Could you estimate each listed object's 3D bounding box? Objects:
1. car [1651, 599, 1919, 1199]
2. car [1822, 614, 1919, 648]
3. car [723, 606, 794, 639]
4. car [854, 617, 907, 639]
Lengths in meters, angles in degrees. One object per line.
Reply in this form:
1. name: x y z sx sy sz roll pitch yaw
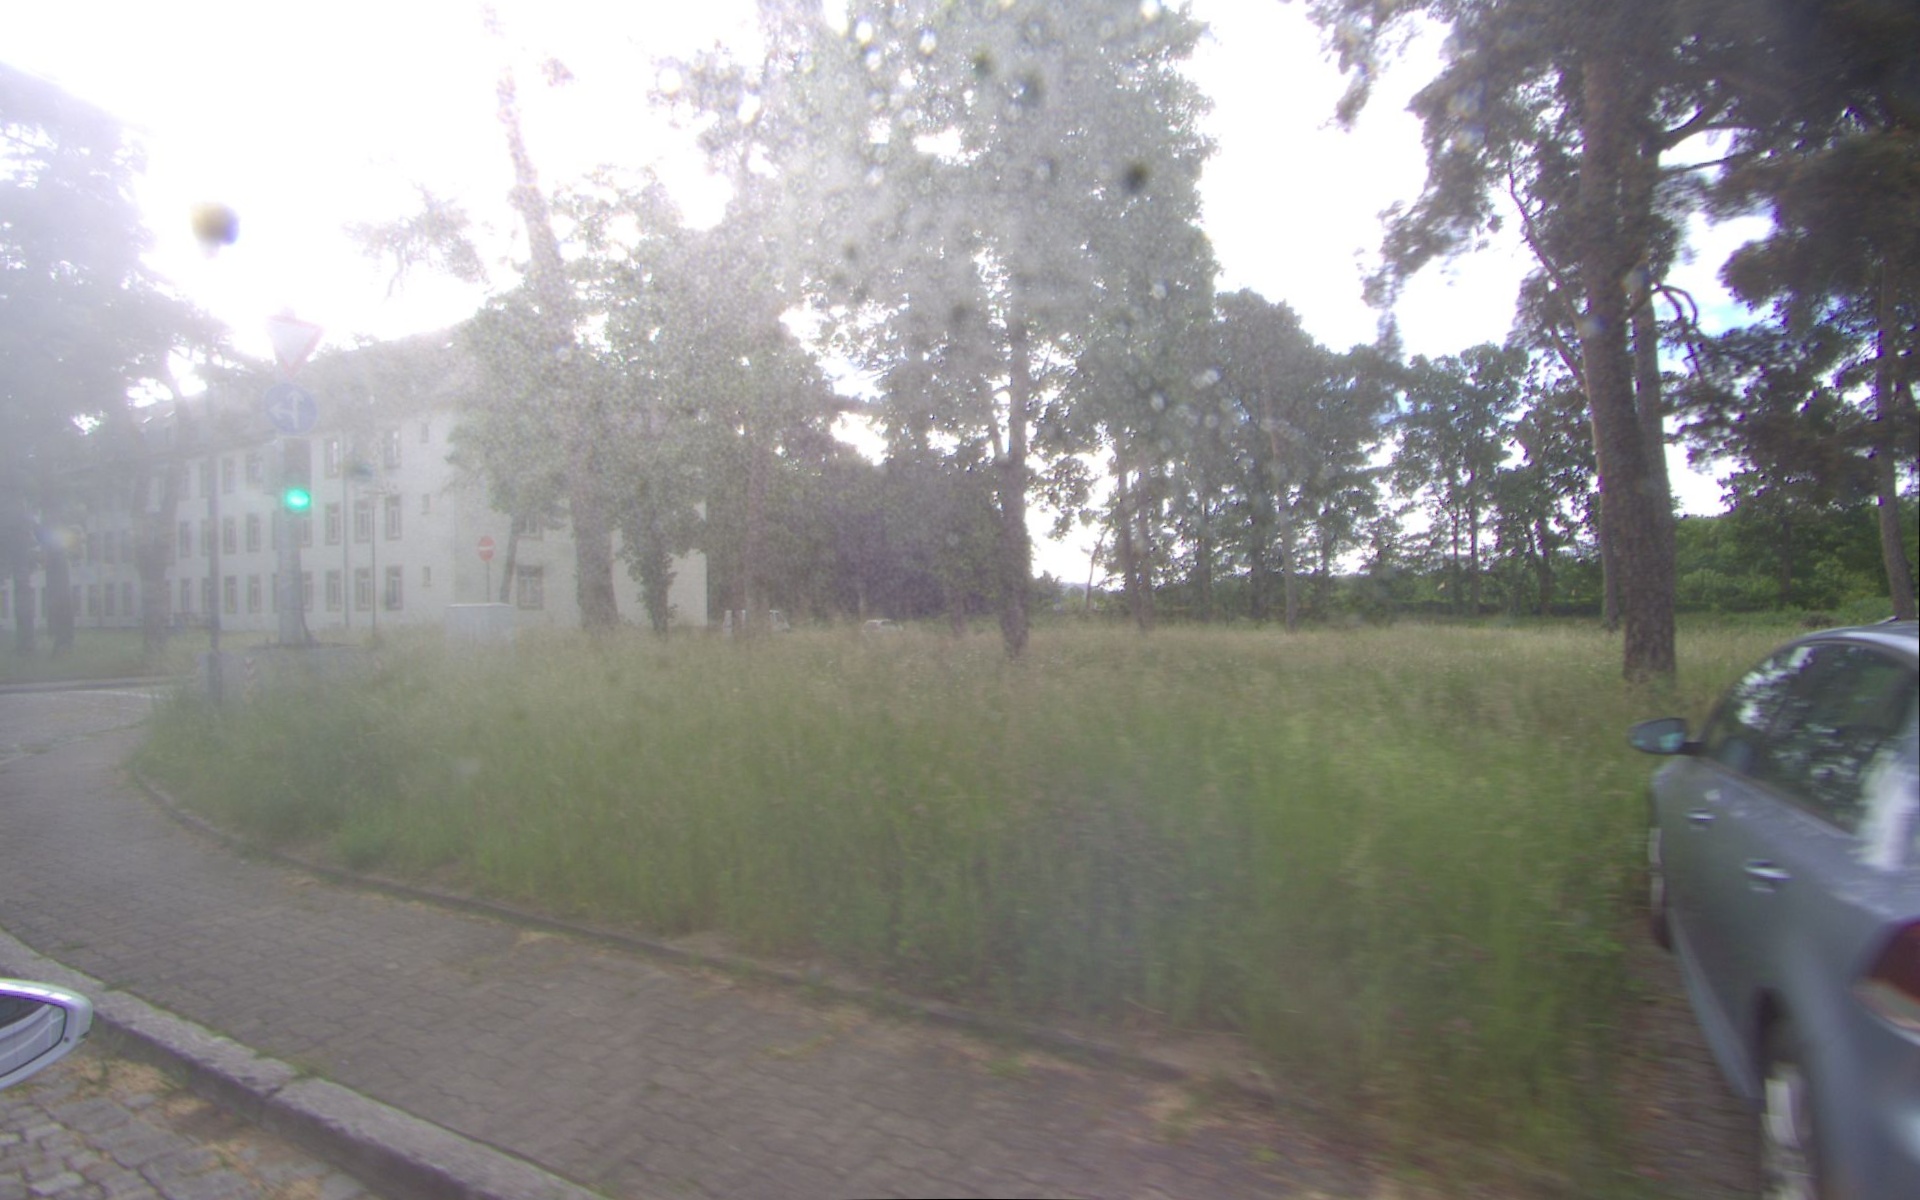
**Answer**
1. car: 3.030 0.733 2.753 1.582 1.446 3.757 0 1 31
2. car: 39.845 1.325 42.920 4.199 1.434 1.877 -1 -1 34
3. car: -14.924 1.668 74.442 2.182 2.318 5.170 -1 -1 33
4. car: -5.500 1.918 69.474 1.972 1.527 3.475 -1 -1 32
